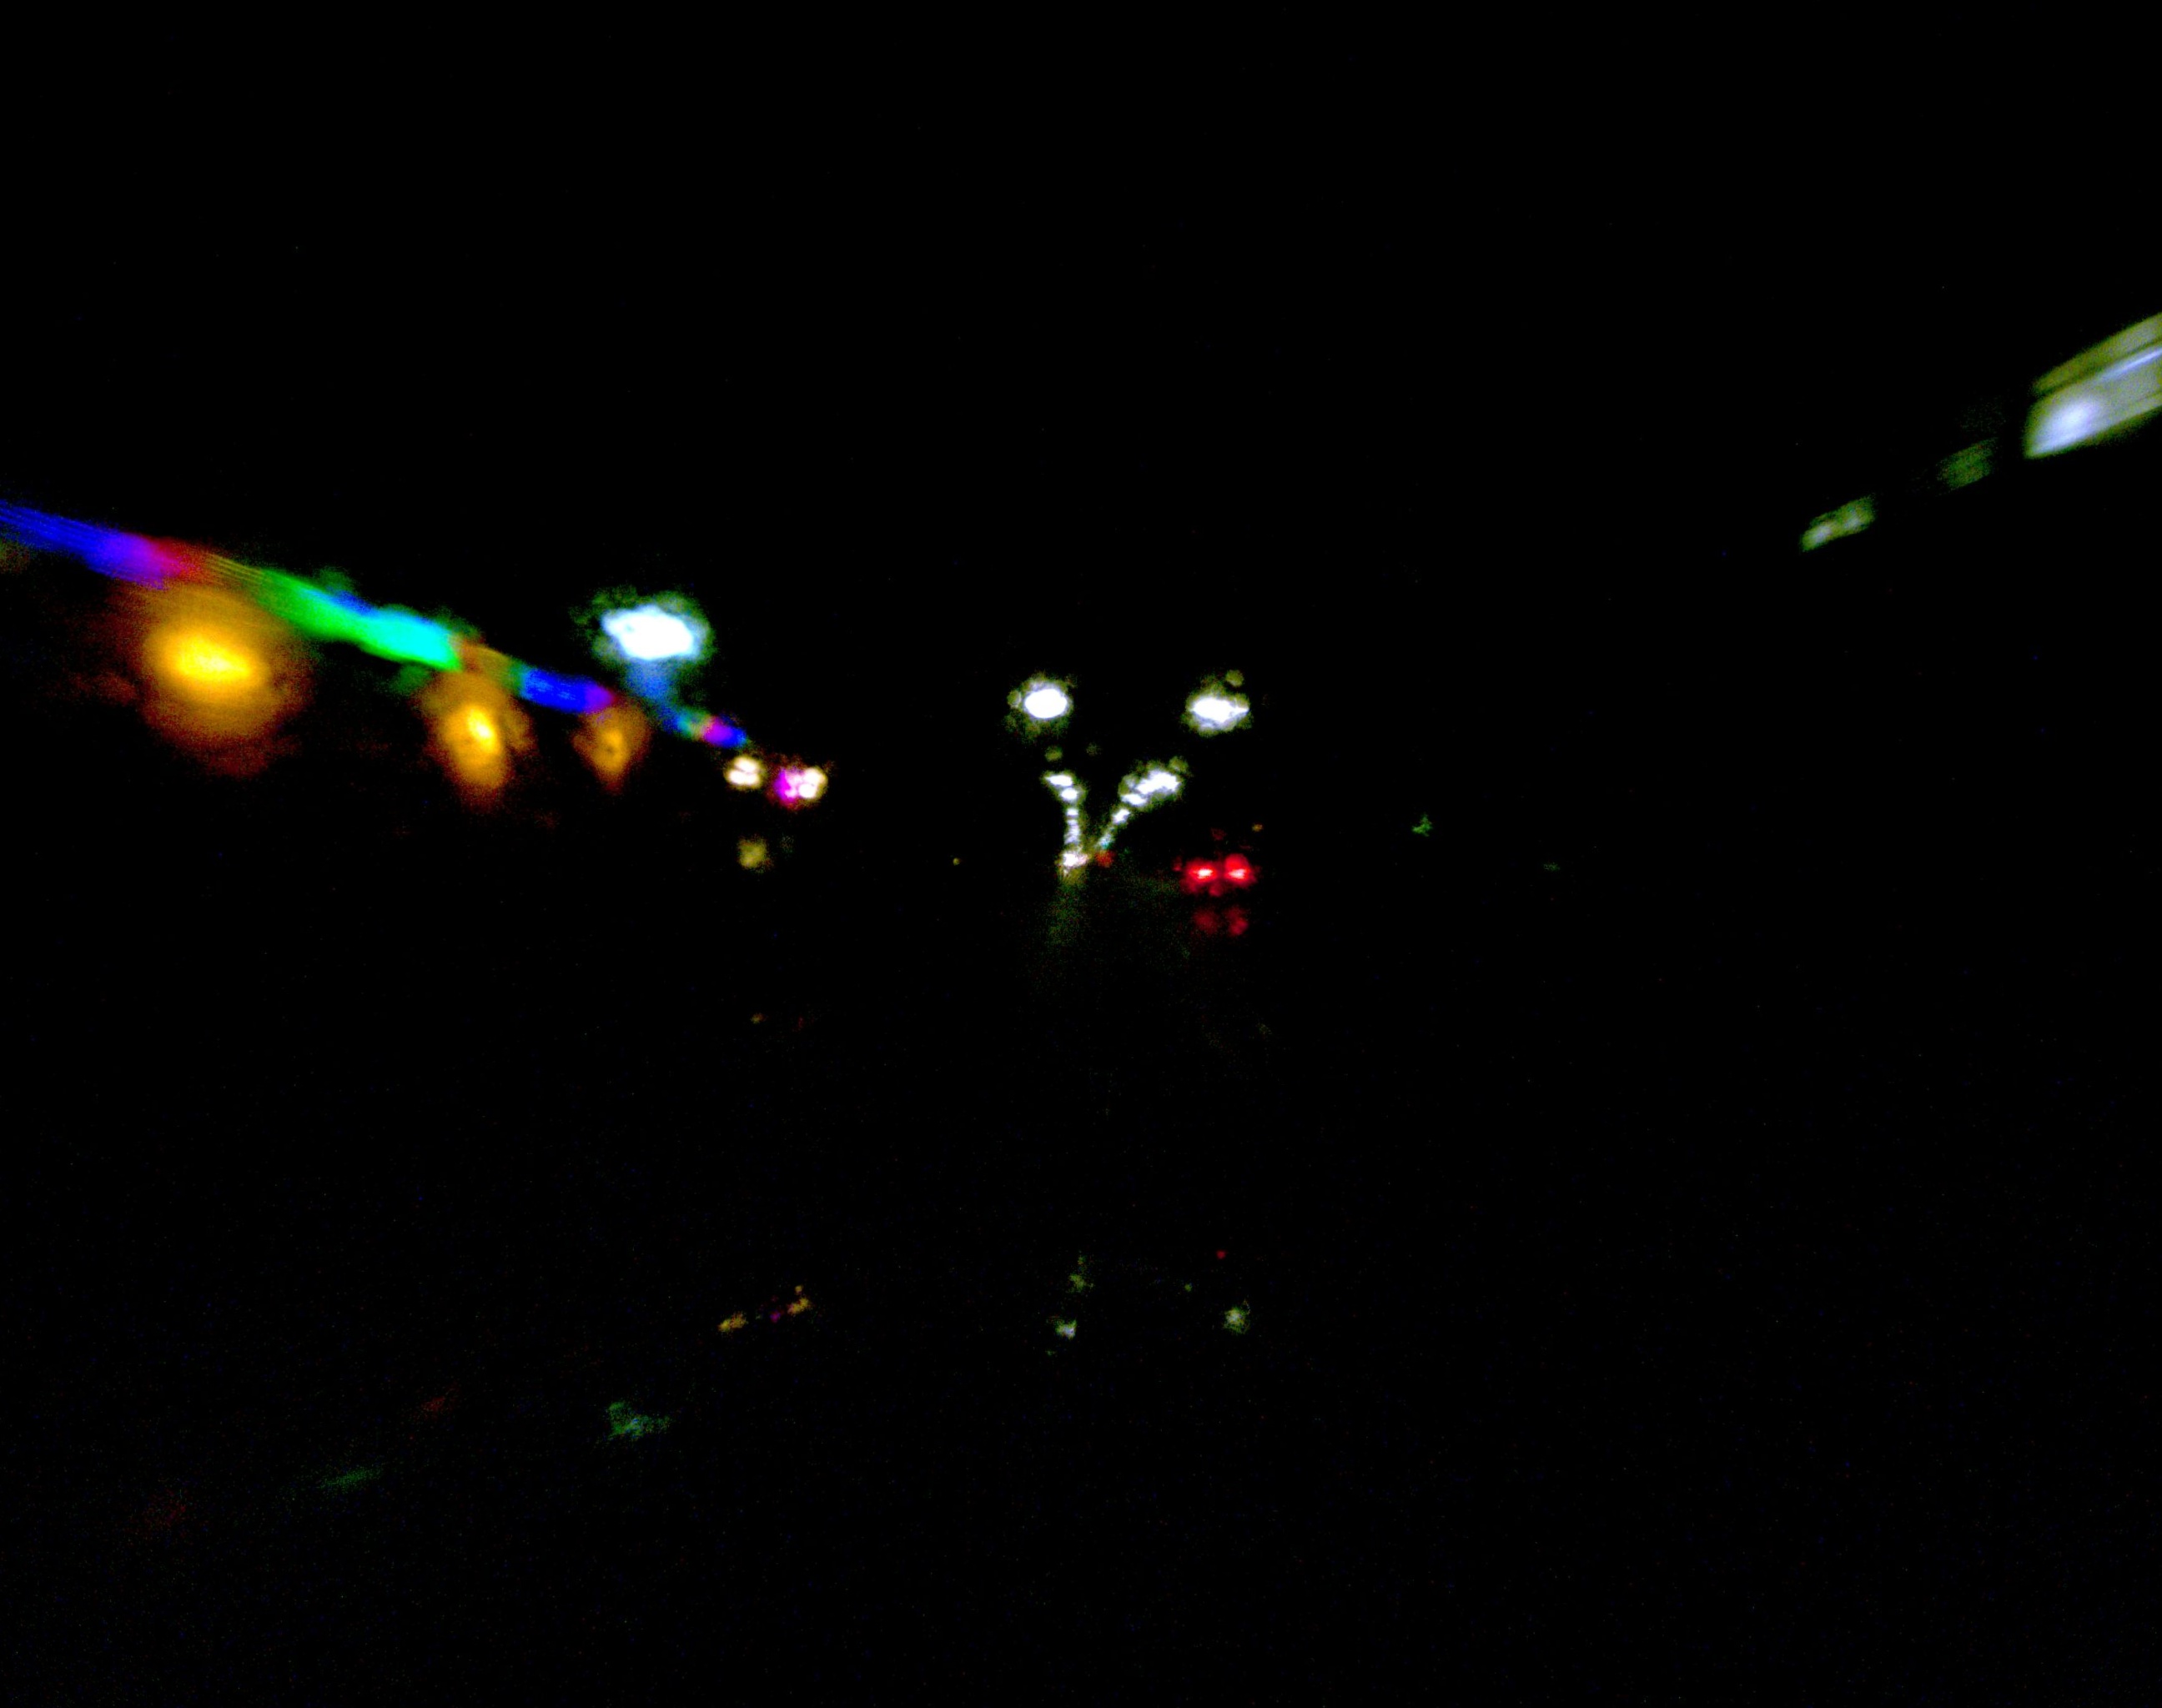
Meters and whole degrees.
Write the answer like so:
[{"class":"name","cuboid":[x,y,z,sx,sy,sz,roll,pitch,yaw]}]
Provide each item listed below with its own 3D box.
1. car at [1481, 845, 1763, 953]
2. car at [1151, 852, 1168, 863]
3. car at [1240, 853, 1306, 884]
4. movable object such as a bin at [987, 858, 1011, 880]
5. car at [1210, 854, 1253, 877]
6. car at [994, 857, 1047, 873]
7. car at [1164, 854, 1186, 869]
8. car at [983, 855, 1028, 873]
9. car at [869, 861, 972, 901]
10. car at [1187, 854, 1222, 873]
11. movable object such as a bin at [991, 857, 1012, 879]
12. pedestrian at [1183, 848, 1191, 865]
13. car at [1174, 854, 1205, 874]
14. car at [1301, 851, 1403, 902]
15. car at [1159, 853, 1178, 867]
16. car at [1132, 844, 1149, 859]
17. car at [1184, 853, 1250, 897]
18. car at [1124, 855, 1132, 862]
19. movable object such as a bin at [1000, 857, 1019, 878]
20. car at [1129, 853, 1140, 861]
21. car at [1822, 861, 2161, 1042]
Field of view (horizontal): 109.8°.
[{"class":"car","cuboid":[9.557,0.680,14.012,1.988,1.622,4.516,-1,1,0]},{"class":"car","cuboid":[10.310,0.457,100.010,1.723,1.447,3.950,-1,1,0]},{"class":"car","cuboid":[10.010,0.707,40.024,1.893,1.454,4.958,-1,0,-4]},{"class":"movable object such as a bin","cuboid":[-5.364,0.962,49.950,1.371,1.414,1.073,1,1,6]},{"class":"car","cuboid":[9.939,0.714,50.528,1.845,1.415,4.208,-1,0,-3]},{"class":"car","cuboid":[-5.670,0.992,71.041,4.604,1.467,1.837,0,0,-19]},{"class":"car","cuboid":[9.956,0.810,80.624,1.735,1.430,4.625,-1,1,1]},{"class":"car","cuboid":[-6.736,0.877,67.597,3.708,1.509,1.656,0,0,-18]},{"class":"car","cuboid":[-7.129,1.164,33.741,4.111,1.528,1.956,-2,1,-25]},{"class":"car","cuboid":[9.657,0.715,59.946,1.778,1.432,4.606,-1,0,-3]},{"class":"movable object such as a bin","cuboid":[-5.314,0.940,51.079,1.210,1.414,1.101,1,1,6]},{"class":"pedestrian","cuboid":[12.379,0.313,88.678,0.794,1.890,1.290,-1,1,1]},{"class":"car","cuboid":[10.153,0.906,71.317,2.149,1.610,4.588,-4,1,0]},{"class":"car","cuboid":[9.699,0.748,27.621,1.885,1.536,4.398,-4,1,-2]},{"class":"car","cuboid":[10.487,0.679,91.257,1.814,1.569,4.353,-4,0,1]},{"class":"car","cuboid":[10.463,-0.488,133.568,2.248,2.494,5.258,-3,1,-2]},{"class":"car","cuboid":[5.010,0.731,28.492,1.780,1.509,4.051,-1,0,1]},{"class":"car","cuboid":[10.833,0.964,175.704,1.693,1.565,3.918,-1,1,1]},{"class":"movable object such as a bin","cuboid":[-4.917,0.912,52.297,1.326,1.400,1.159,0,1,-5]},{"class":"car","cuboid":[10.838,0.644,154.487,1.846,1.572,3.663,-3,1,-1]},{"class":"car","cuboid":[9.445,0.789,6.819,1.695,1.413,3.913,-1,0,-3]}]
